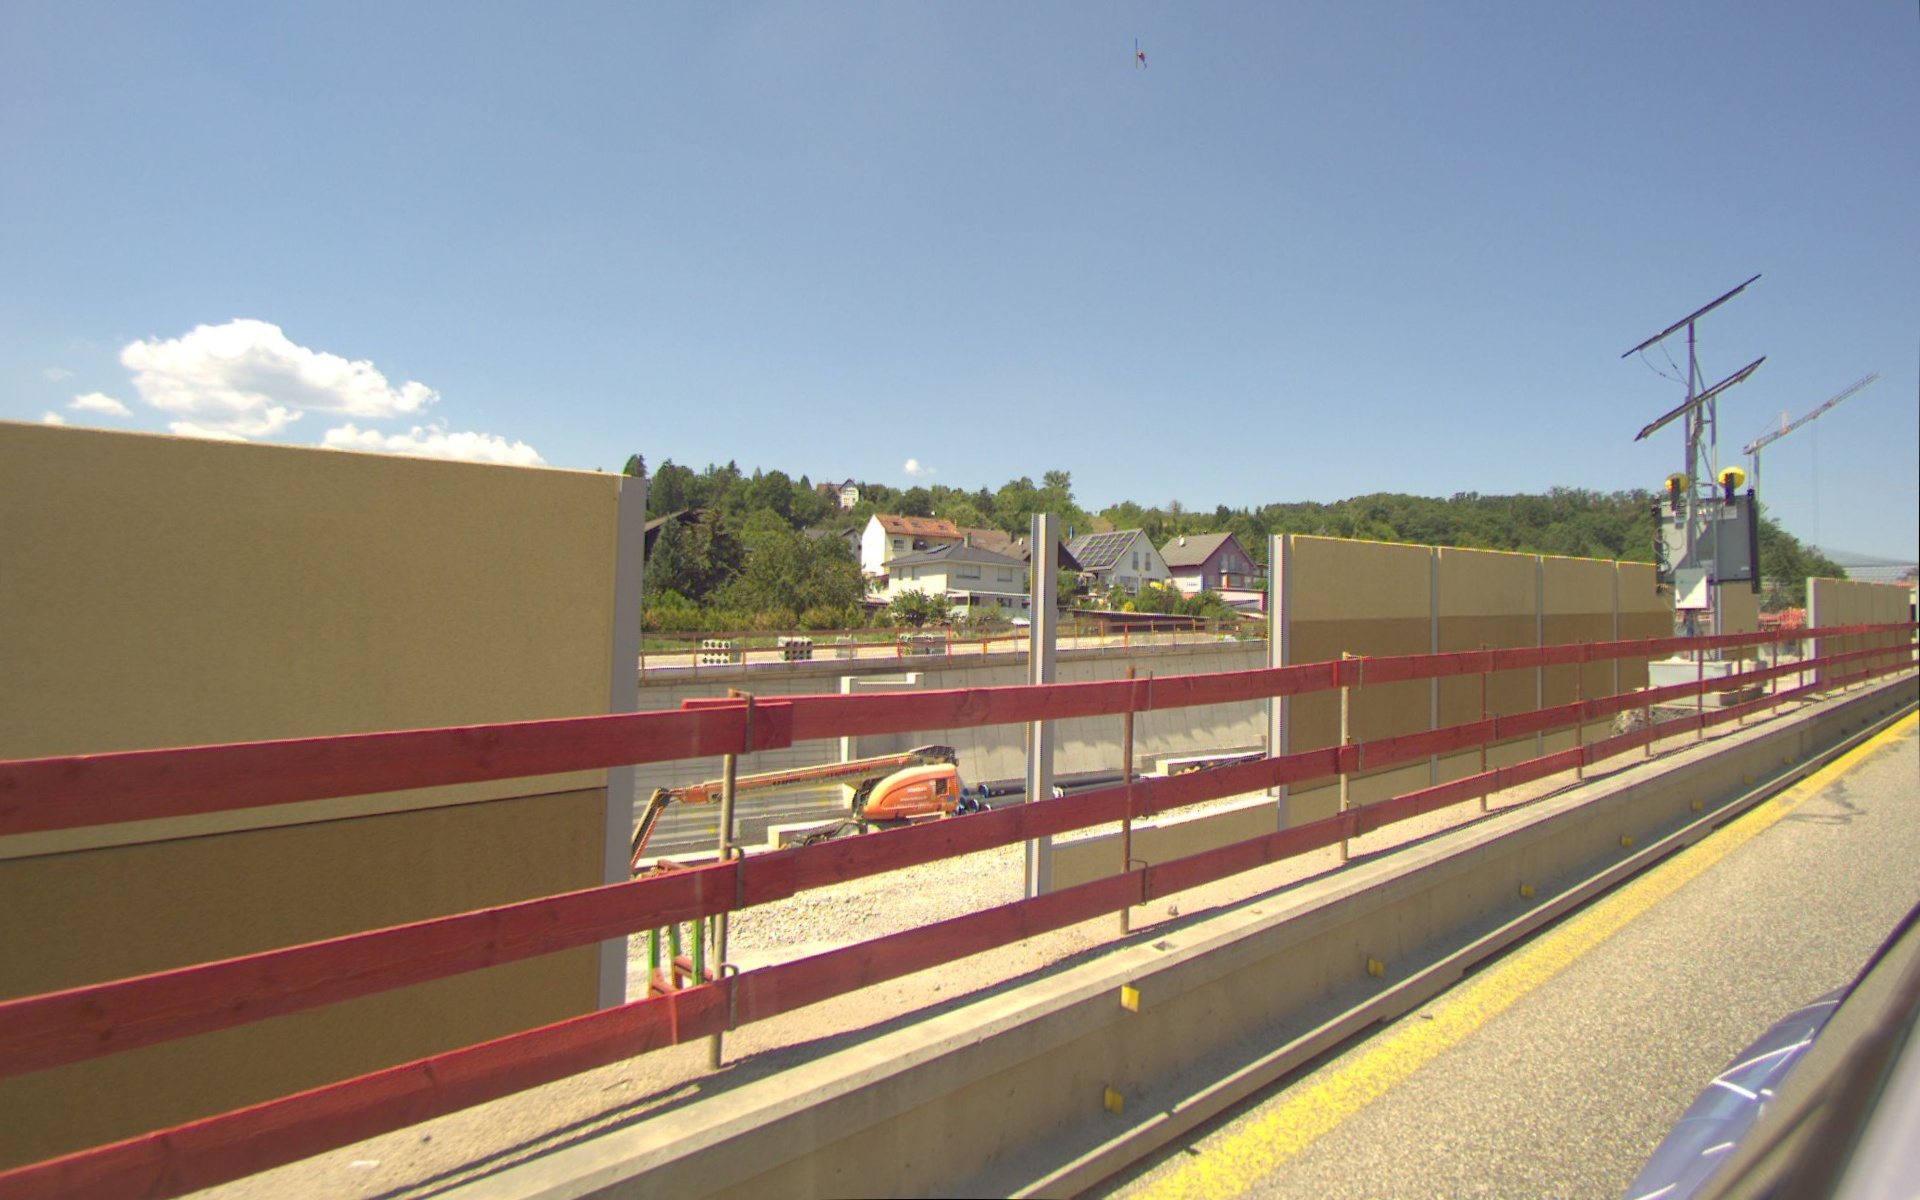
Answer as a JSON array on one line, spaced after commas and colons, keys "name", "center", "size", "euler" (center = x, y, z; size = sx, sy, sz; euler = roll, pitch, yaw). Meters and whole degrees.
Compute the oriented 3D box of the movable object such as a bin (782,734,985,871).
[{"name": "movable object such as a bin", "center": [-1.869, 4.890, 25.284], "size": [4.376, 2.522, 2.612], "euler": [0, -2, -41]}]
